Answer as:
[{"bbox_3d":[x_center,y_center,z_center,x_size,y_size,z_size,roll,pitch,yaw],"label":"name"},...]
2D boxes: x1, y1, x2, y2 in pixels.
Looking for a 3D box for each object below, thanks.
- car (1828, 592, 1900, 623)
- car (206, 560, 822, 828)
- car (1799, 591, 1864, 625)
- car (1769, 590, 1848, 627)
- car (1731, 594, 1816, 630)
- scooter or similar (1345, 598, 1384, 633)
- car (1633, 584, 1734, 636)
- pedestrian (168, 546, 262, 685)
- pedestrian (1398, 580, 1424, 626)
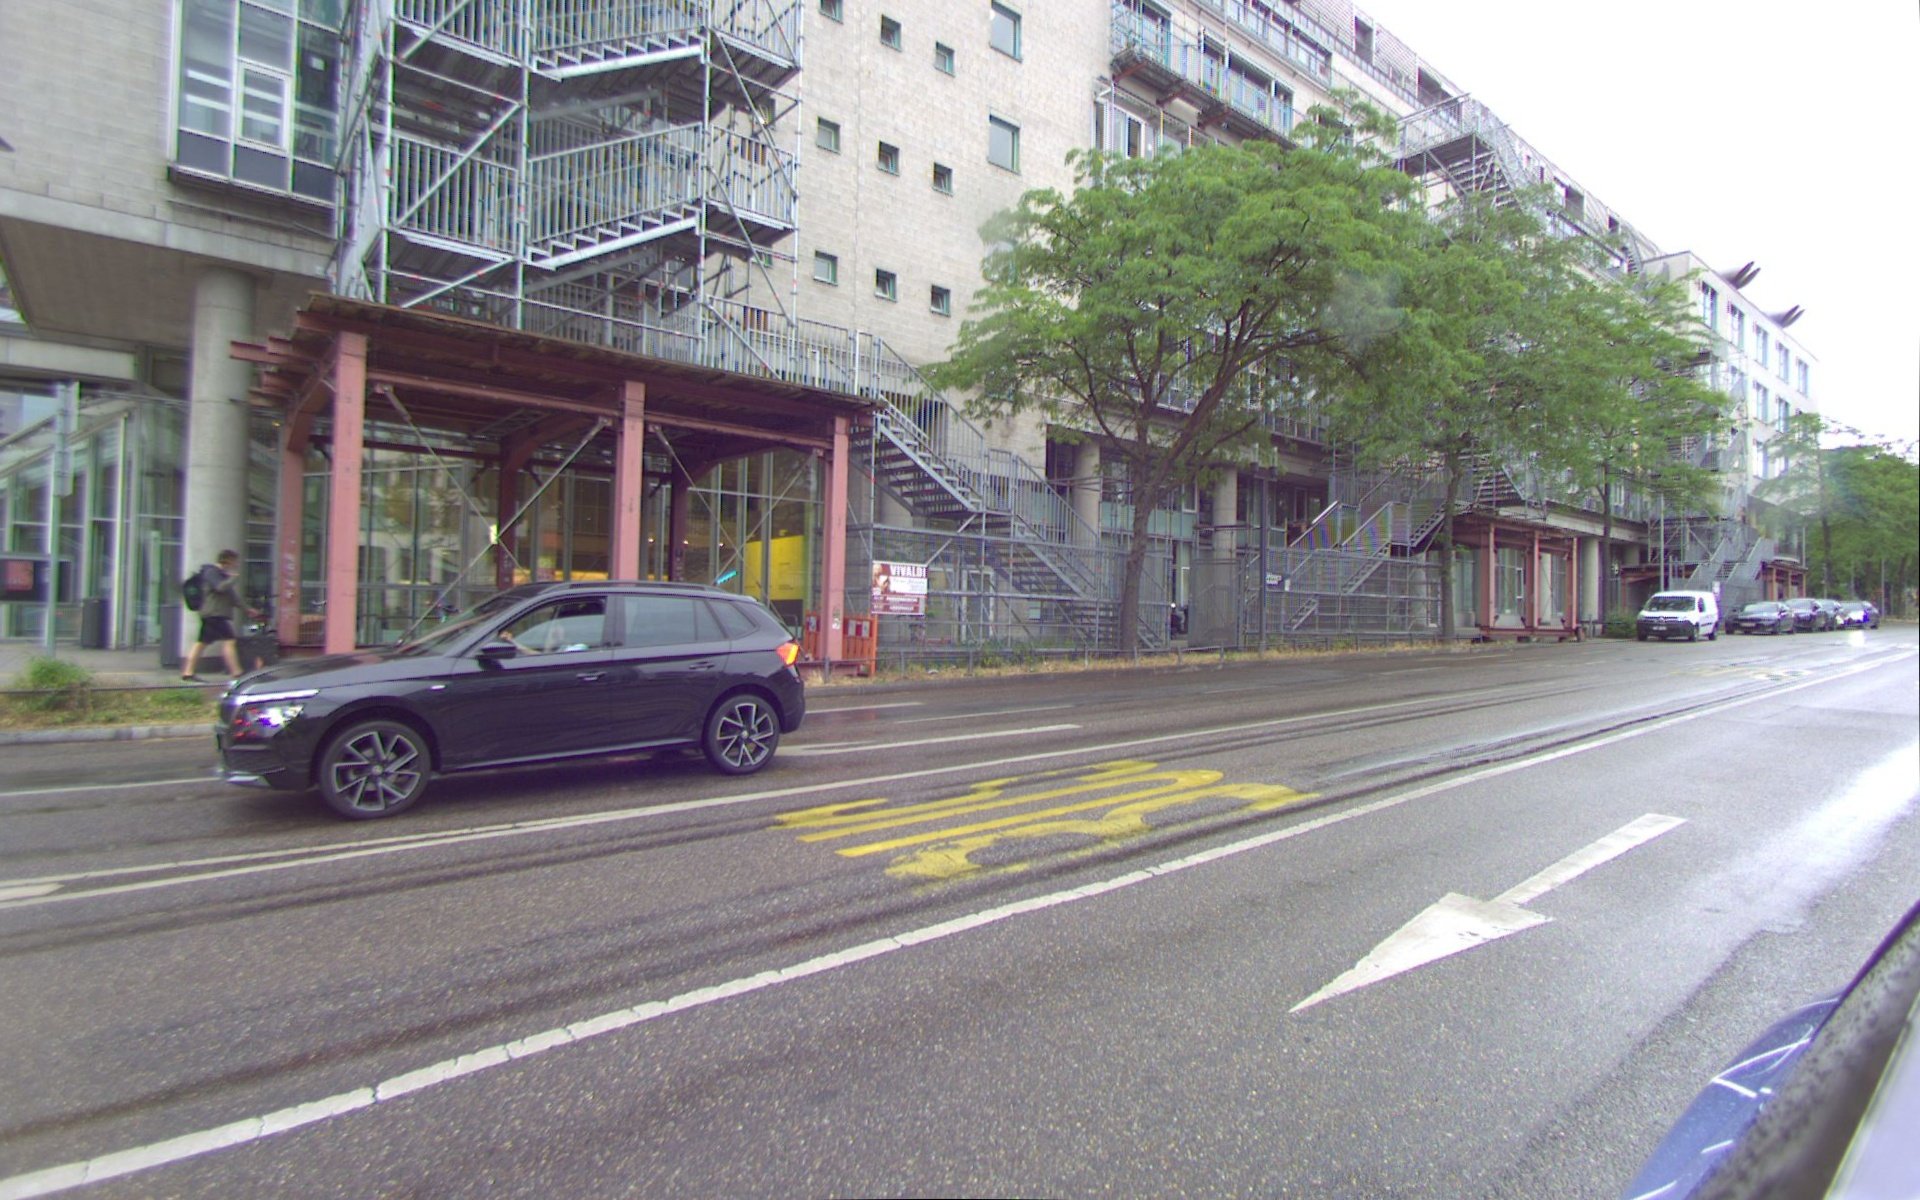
[{"bbox_3d":[49.120,0.410,54.958,5.191,1.621,1.999,0,0,-38],"label":"car"},{"bbox_3d":[-3.289,0.539,7.857,4.071,1.559,1.782,0,0,-39],"label":"car"},{"bbox_3d":[44.398,0.392,51.530,4.512,1.621,1.865,0,0,-41],"label":"car"},{"bbox_3d":[40.369,0.367,48.118,4.774,1.667,1.998,0,0,-39],"label":"car"},{"bbox_3d":[35.265,0.511,43.814,4.831,1.455,1.873,0,0,-39],"label":"car"},{"bbox_3d":[13.813,0.521,34.553,1.520,1.176,0.632,0,0,-41],"label":"scooter or similar"},{"bbox_3d":[26.231,0.319,36.625,4.447,1.772,1.997,0,0,-41],"label":"car"},{"bbox_3d":[-10.403,0.200,14.164,1.036,1.875,0.682,0,0,-35],"label":"pedestrian"},{"bbox_3d":[17.305,0.111,38.801,0.641,1.764,0.678,0,0,-38],"label":"pedestrian"}]
